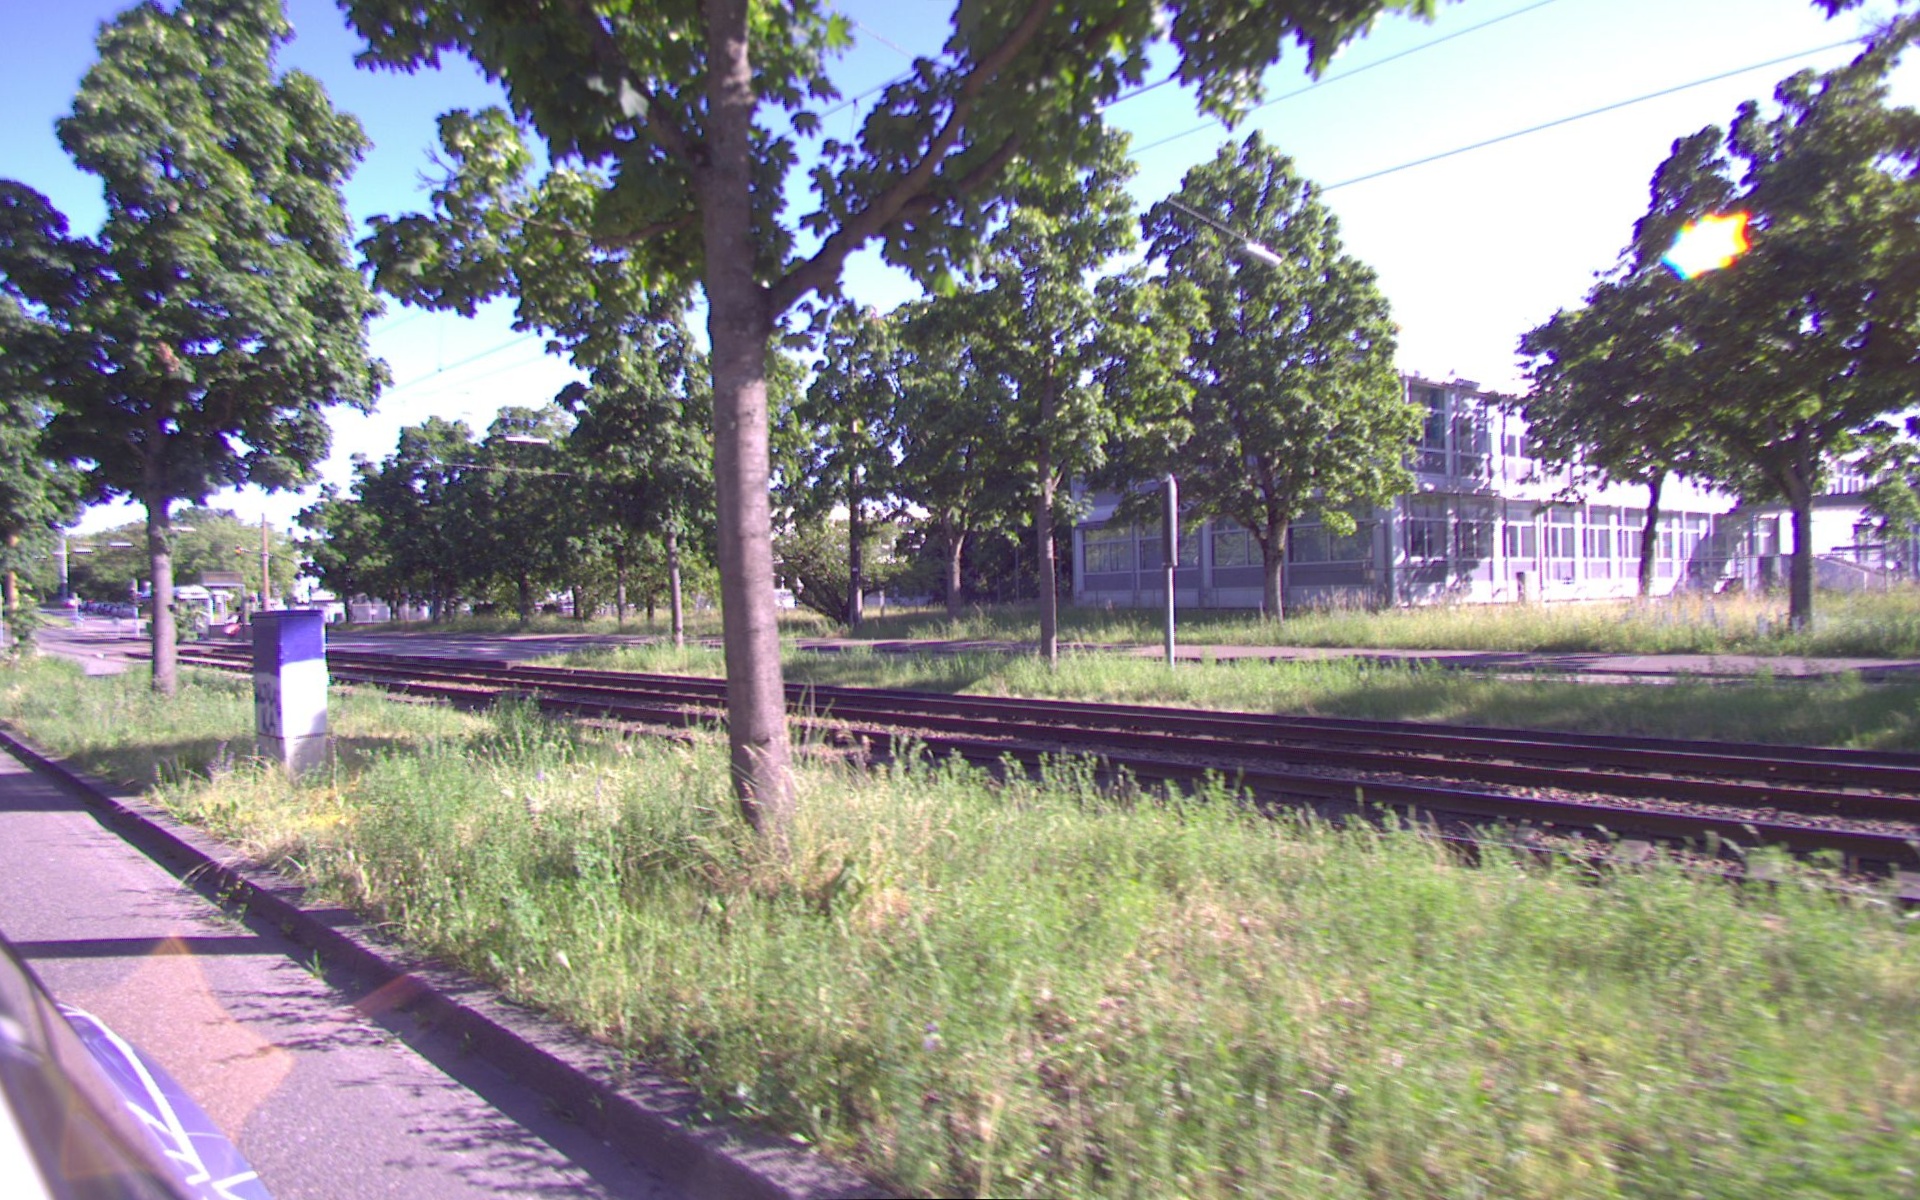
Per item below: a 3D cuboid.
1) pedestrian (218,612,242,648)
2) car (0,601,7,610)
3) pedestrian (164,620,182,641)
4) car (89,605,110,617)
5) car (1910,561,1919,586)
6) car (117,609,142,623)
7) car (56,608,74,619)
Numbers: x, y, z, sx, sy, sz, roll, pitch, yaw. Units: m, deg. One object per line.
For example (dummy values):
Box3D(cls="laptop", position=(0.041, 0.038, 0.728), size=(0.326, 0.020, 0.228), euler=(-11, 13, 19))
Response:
Box3D(cls="pedestrian", position=(-36.068, 1.477, 49.986), size=(0.781, 1.765, 0.776), euler=(-1, 0, 41))
Box3D(cls="car", position=(-174.888, 0.996, 184.182), size=(3.454, 1.597, 1.679), euler=(-1, -1, 41))
Box3D(cls="pedestrian", position=(-46.674, 1.808, 60.010), size=(0.679, 1.258, 0.643), euler=(-2, -2, 33))
Box3D(cls="car", position=(-117.419, 1.547, 138.081), size=(3.454, 1.597, 1.679), euler=(-1, -1, 41))
Box3D(cls="car", position=(50.132, -1.390, 51.404), size=(4.153, 1.252, 1.636), euler=(-2, 0, -31))
Box3D(cls="car", position=(-98.947, 1.893, 120.520), size=(3.454, 1.597, 1.749), euler=(-1, -1, 41))
Box3D(cls="car", position=(-142.341, 2.180, 160.989), size=(3.454, 1.597, 1.679), euler=(-1, -1, 41))
